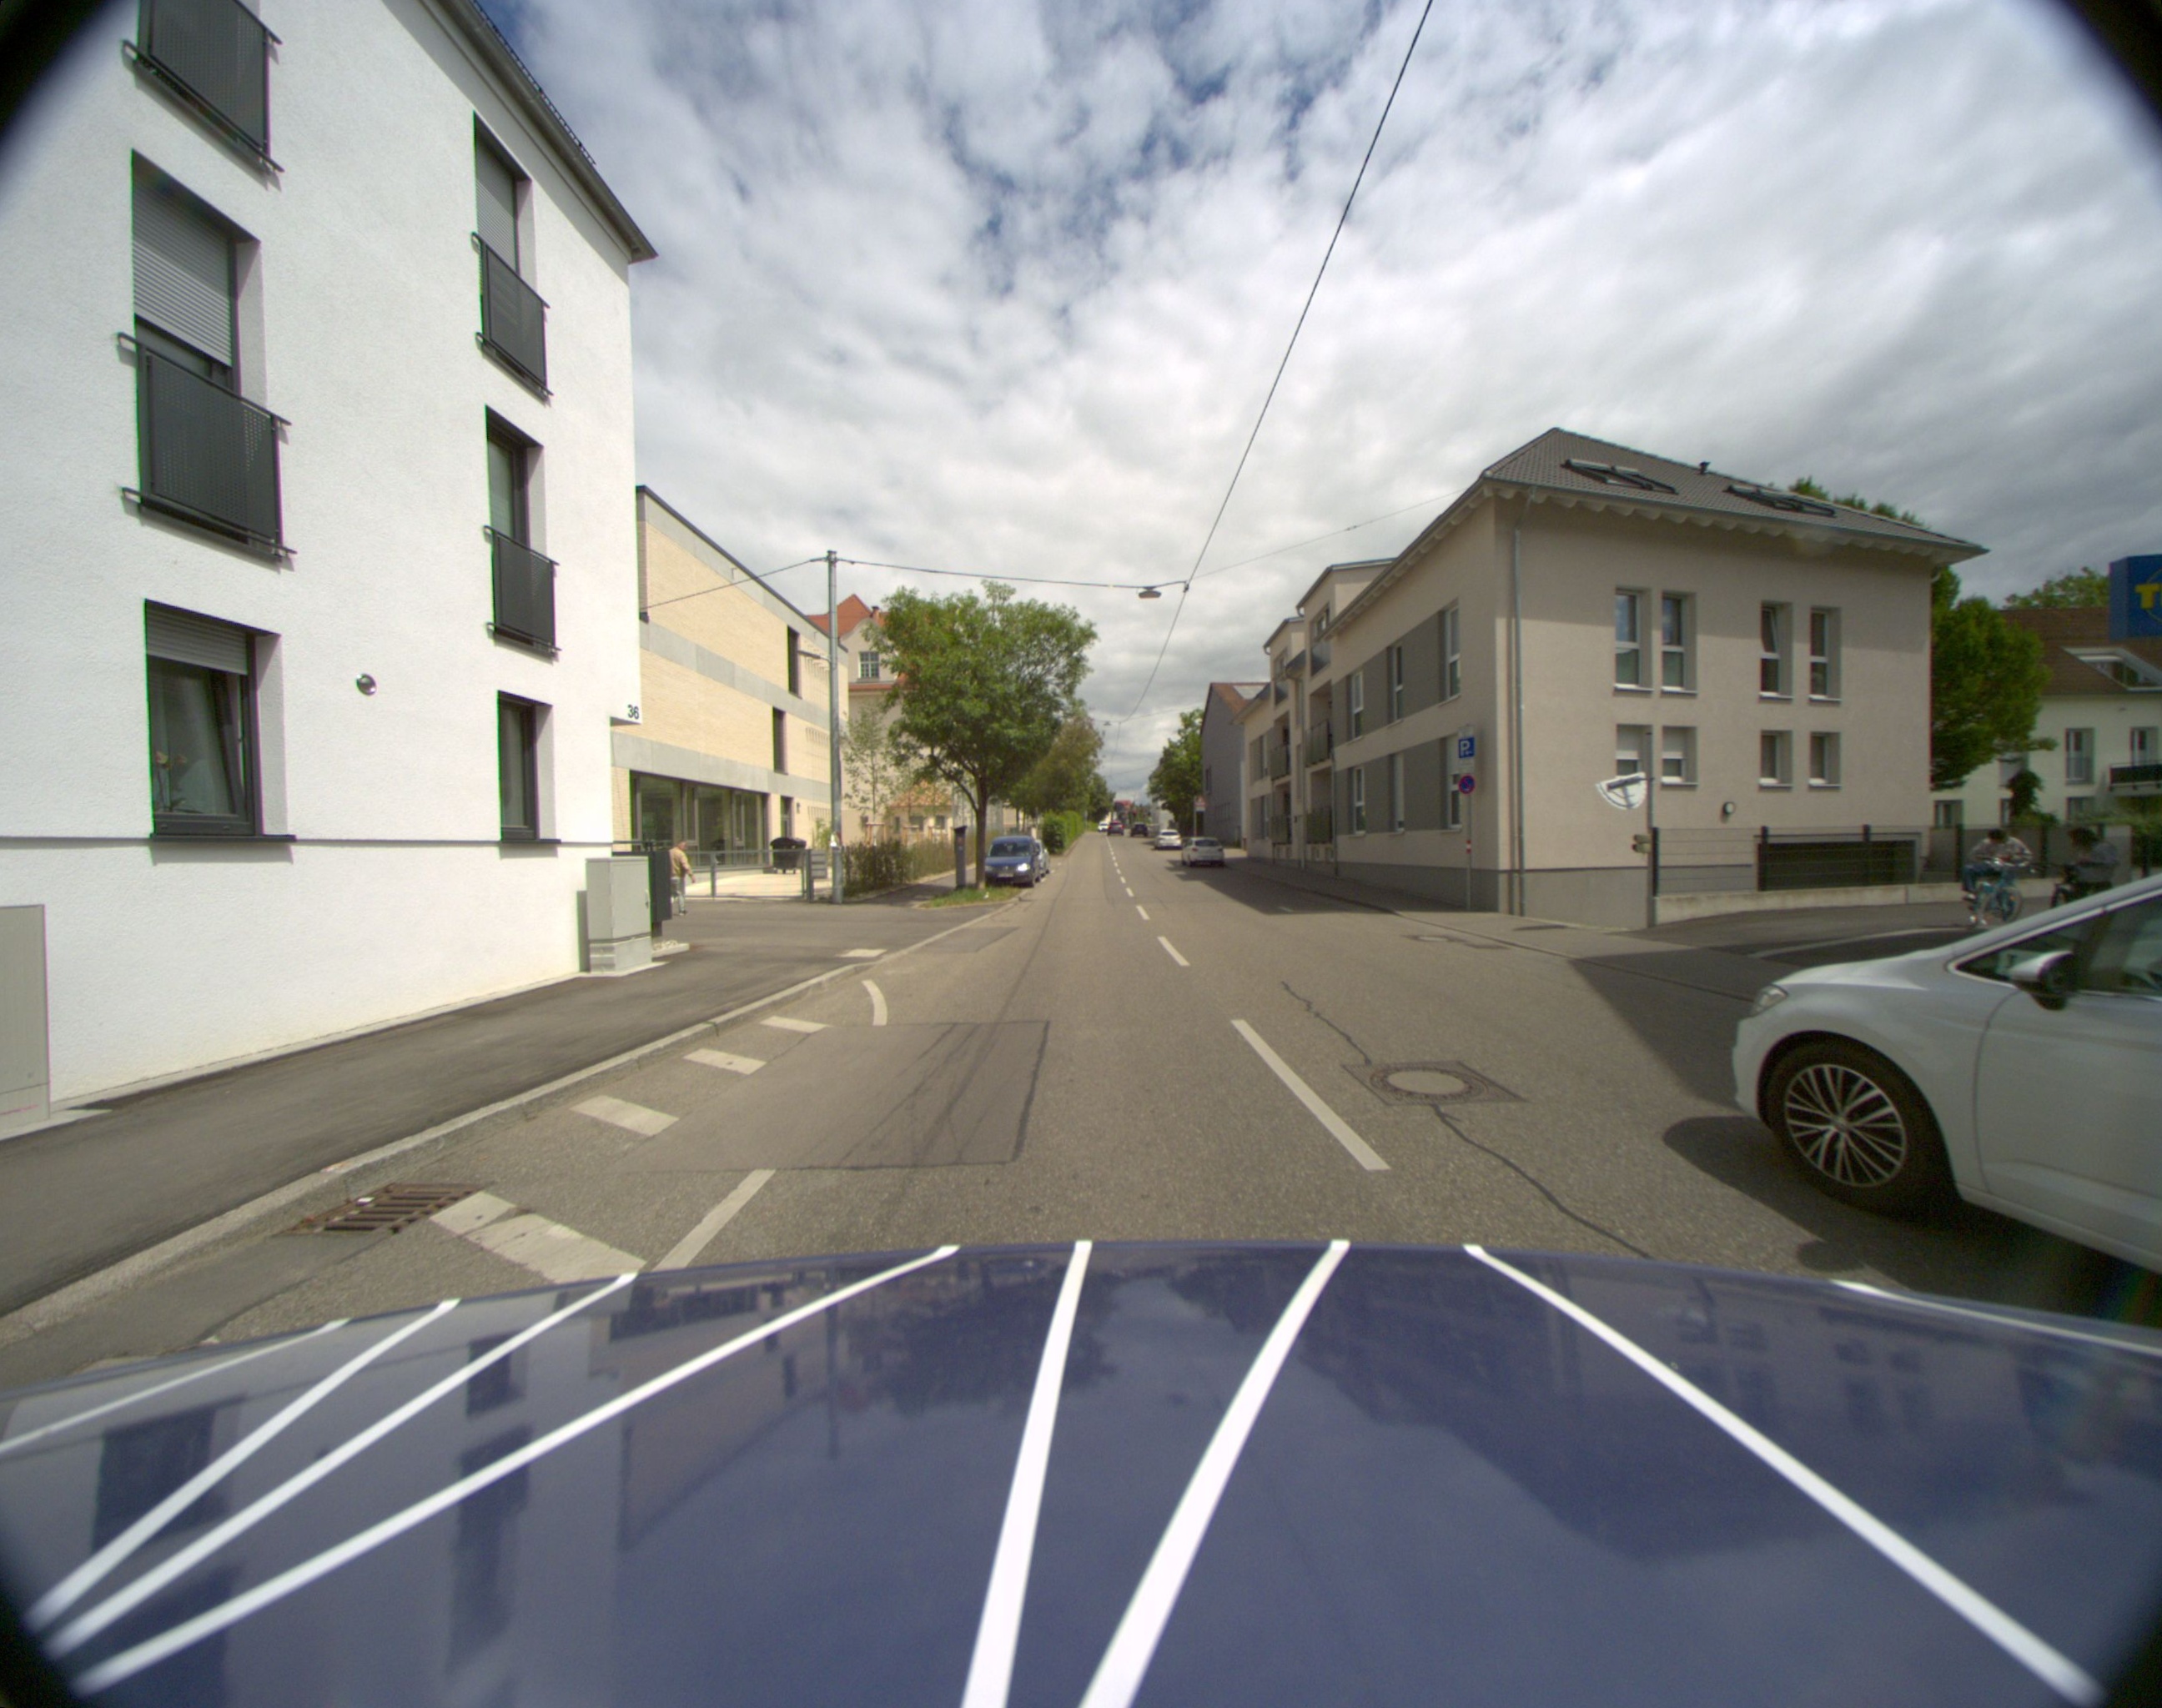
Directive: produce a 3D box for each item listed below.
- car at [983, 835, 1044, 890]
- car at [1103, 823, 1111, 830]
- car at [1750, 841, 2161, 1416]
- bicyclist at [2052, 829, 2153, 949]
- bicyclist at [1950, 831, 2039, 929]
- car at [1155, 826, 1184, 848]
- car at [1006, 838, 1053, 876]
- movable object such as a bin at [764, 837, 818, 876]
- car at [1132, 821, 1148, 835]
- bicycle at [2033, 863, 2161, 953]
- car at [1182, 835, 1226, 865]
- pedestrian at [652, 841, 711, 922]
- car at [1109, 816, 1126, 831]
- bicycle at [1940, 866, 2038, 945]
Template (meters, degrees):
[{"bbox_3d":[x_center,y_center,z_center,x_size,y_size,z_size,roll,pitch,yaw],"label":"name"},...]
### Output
[{"bbox_3d":[-2.308,0.232,26.973,1.698,1.733,4.158,0,2,1],"label":"car"},{"bbox_3d":[4.469,-4.709,130.262,1.298,1.148,2.983,-3,0,1],"label":"car"},{"bbox_3d":[3.916,0.777,1.349,1.779,1.603,4.119,0,1,-1],"label":"car"},{"bbox_3d":[12.001,0.404,8.935,0.425,1.357,0.588,-1,-1,-21],"label":"bicyclist"},{"bbox_3d":[11.957,0.323,9.959,0.640,1.235,0.427,0,3,34],"label":"bicyclist"},{"bbox_3d":[6.376,-1.266,55.240,1.737,1.480,4.064,0,3,1],"label":"car"},{"bbox_3d":[-2.162,0.101,32.845,1.677,1.510,3.670,0,1,1],"label":"car"},{"bbox_3d":[-11.421,0.080,29.998,1.351,1.439,1.806,-2,2,2],"label":"movable object such as a bin"},{"bbox_3d":[6.847,-3.063,88.378,1.672,1.545,3.963,0,3,1],"label":"car"},{"bbox_3d":[12.065,0.605,8.952,1.693,0.949,0.554,-2,0,-21],"label":"bicycle"},{"bbox_3d":[5.987,-0.226,37.240,1.665,1.322,3.472,0,3,1],"label":"car"},{"bbox_3d":[-8.720,0.581,16.620,0.775,1.694,0.829,-2,2,0],"label":"pedestrian"},{"bbox_3d":[4.448,-3.728,93.650,1.946,1.709,4.596,0,1,0],"label":"car"},{"bbox_3d":[11.901,0.637,9.996,0.458,0.912,1.593,-1,0,37],"label":"bicycle"}]
